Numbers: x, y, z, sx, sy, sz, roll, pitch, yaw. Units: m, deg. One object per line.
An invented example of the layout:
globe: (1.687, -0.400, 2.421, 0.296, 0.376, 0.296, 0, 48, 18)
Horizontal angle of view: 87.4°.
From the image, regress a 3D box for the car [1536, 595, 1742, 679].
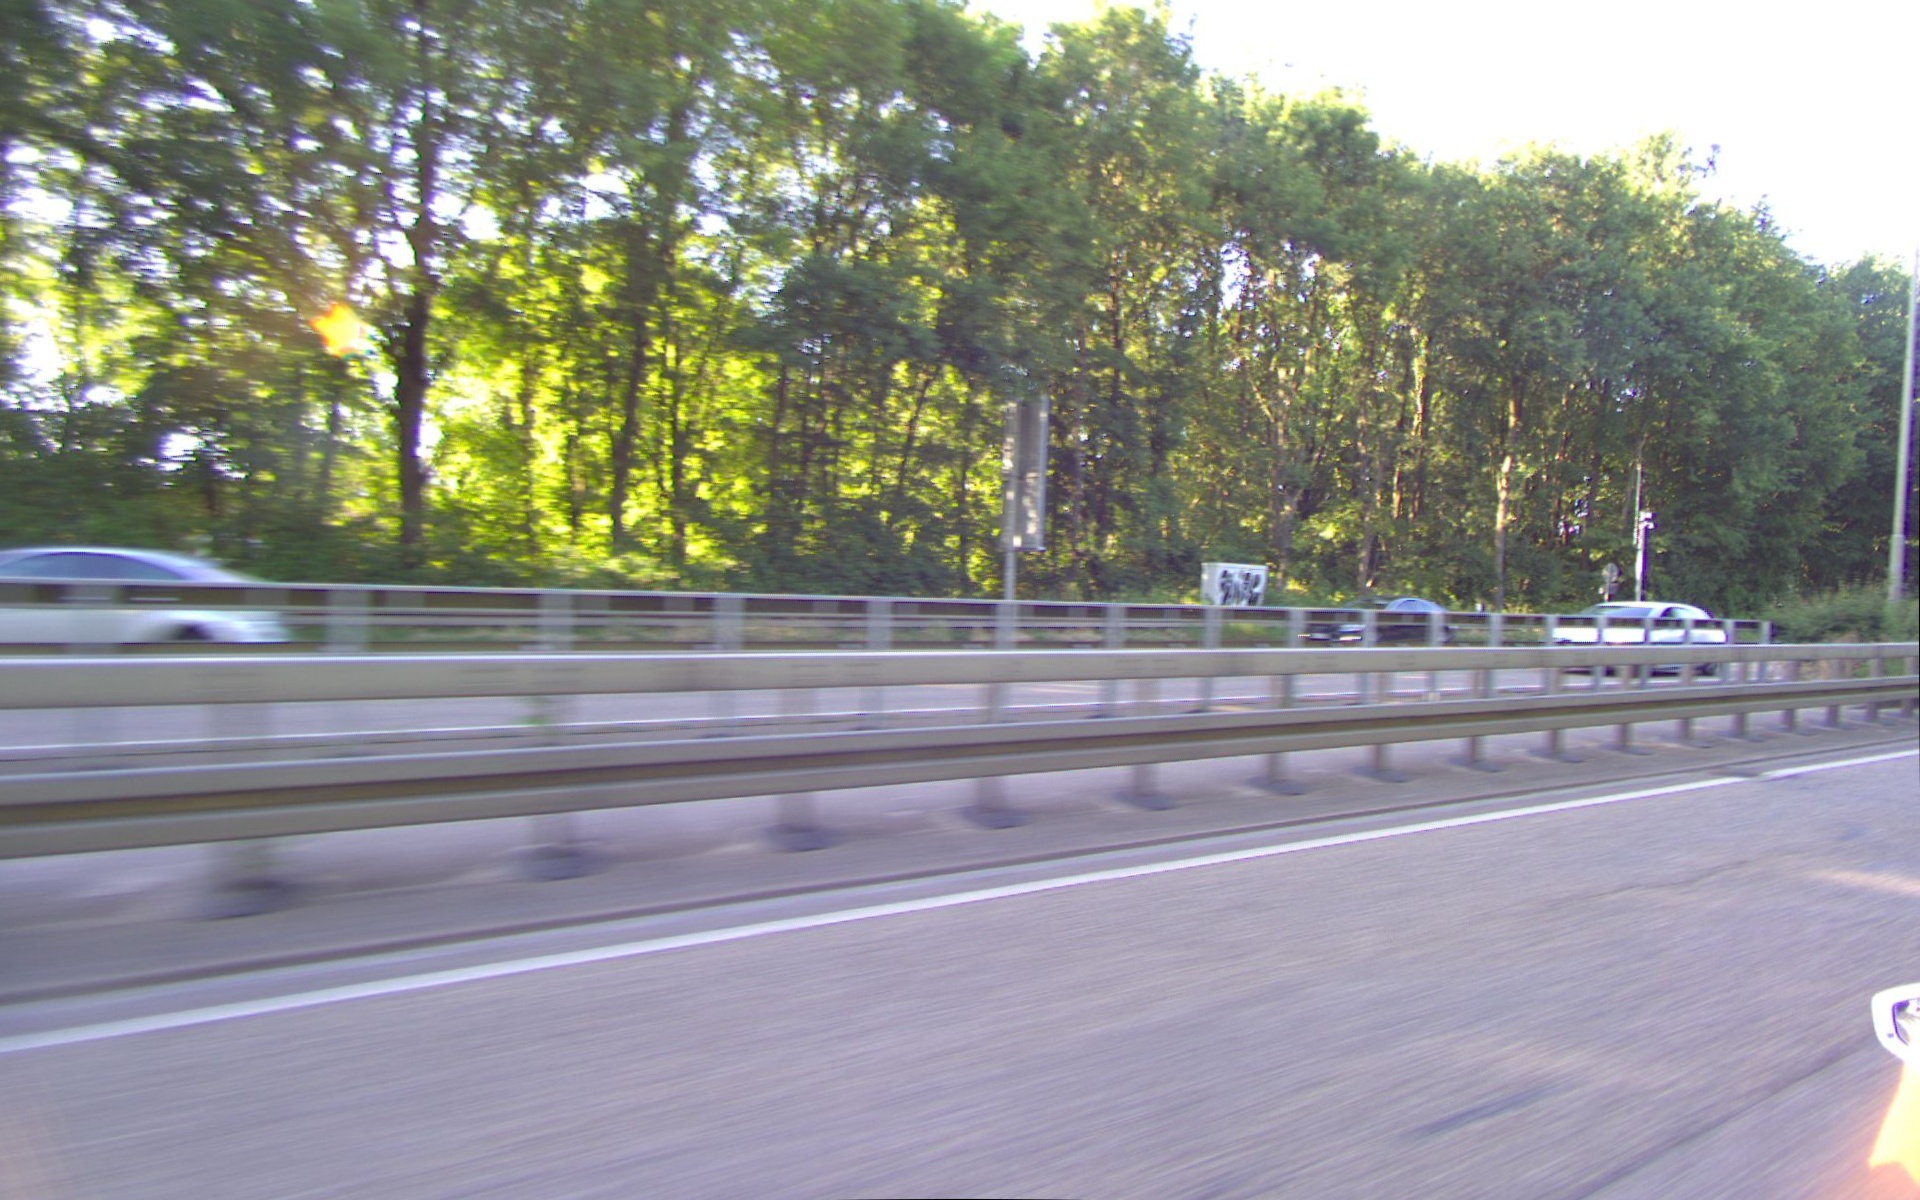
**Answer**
car: (13.798, 0.714, 20.349, 4.345, 1.509, 1.722, 1, 1, -30)

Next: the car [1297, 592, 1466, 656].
car: (10.971, 0.615, 26.054, 4.401, 1.509, 1.722, 1, 1, -30)

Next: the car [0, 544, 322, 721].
car: (-9.722, 0.329, 11.151, 4.322, 1.773, 1.984, 2, 0, -30)
